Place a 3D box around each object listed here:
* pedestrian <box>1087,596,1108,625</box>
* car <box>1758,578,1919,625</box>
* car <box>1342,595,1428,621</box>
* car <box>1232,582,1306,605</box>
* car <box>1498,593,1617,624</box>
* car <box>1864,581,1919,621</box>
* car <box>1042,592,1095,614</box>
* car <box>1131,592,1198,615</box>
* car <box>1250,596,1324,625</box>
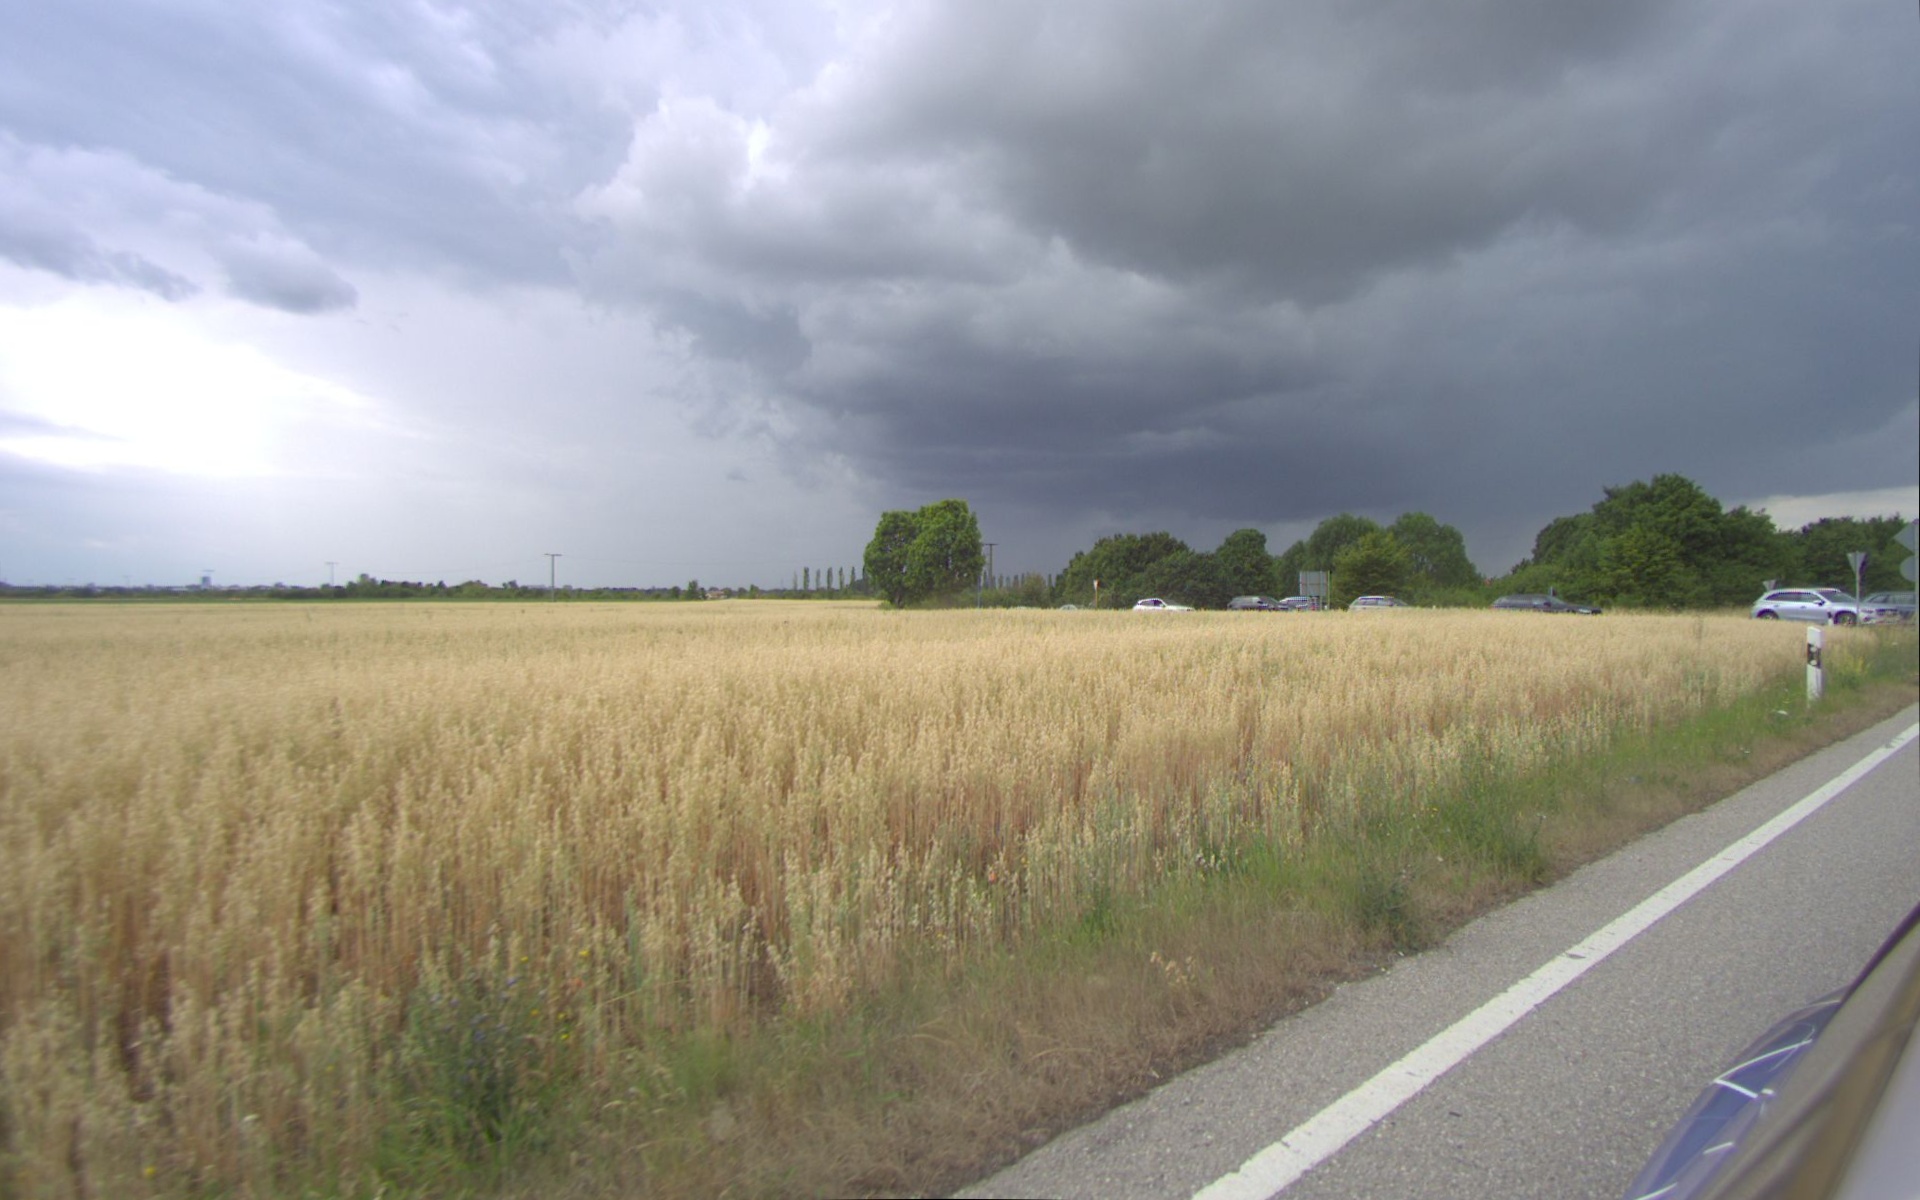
[{"bbox_3d":[7.824,0.594,57.669,0.939,1.631,0.763,0,-1,37],"label":"pedestrian"},{"bbox_3d":[32.809,-0.004,37.911,1.957,1.606,4.401,-2,1,-8],"label":"car"},{"bbox_3d":[23.658,0.399,56.450,1.689,1.370,4.214,0,0,-35],"label":"car"},{"bbox_3d":[19.067,-0.408,62.659,1.690,1.370,4.214,-2,2,-35],"label":"car"},{"bbox_3d":[28.760,0.368,48.839,1.689,1.370,4.697,-2,2,-33],"label":"car"},{"bbox_3d":[36.622,0.018,37.863,4.104,1.465,1.691,0,1,45],"label":"car"},{"bbox_3d":[8.236,0.201,77.306,1.690,1.513,4.214,-2,2,-35],"label":"car"},{"bbox_3d":[13.968,0.222,69.390,1.690,1.513,4.638,-2,2,-35],"label":"car"},{"bbox_3d":[21.099,0.636,65.430,1.723,1.679,4.285,0,2,-40],"label":"car"}]
